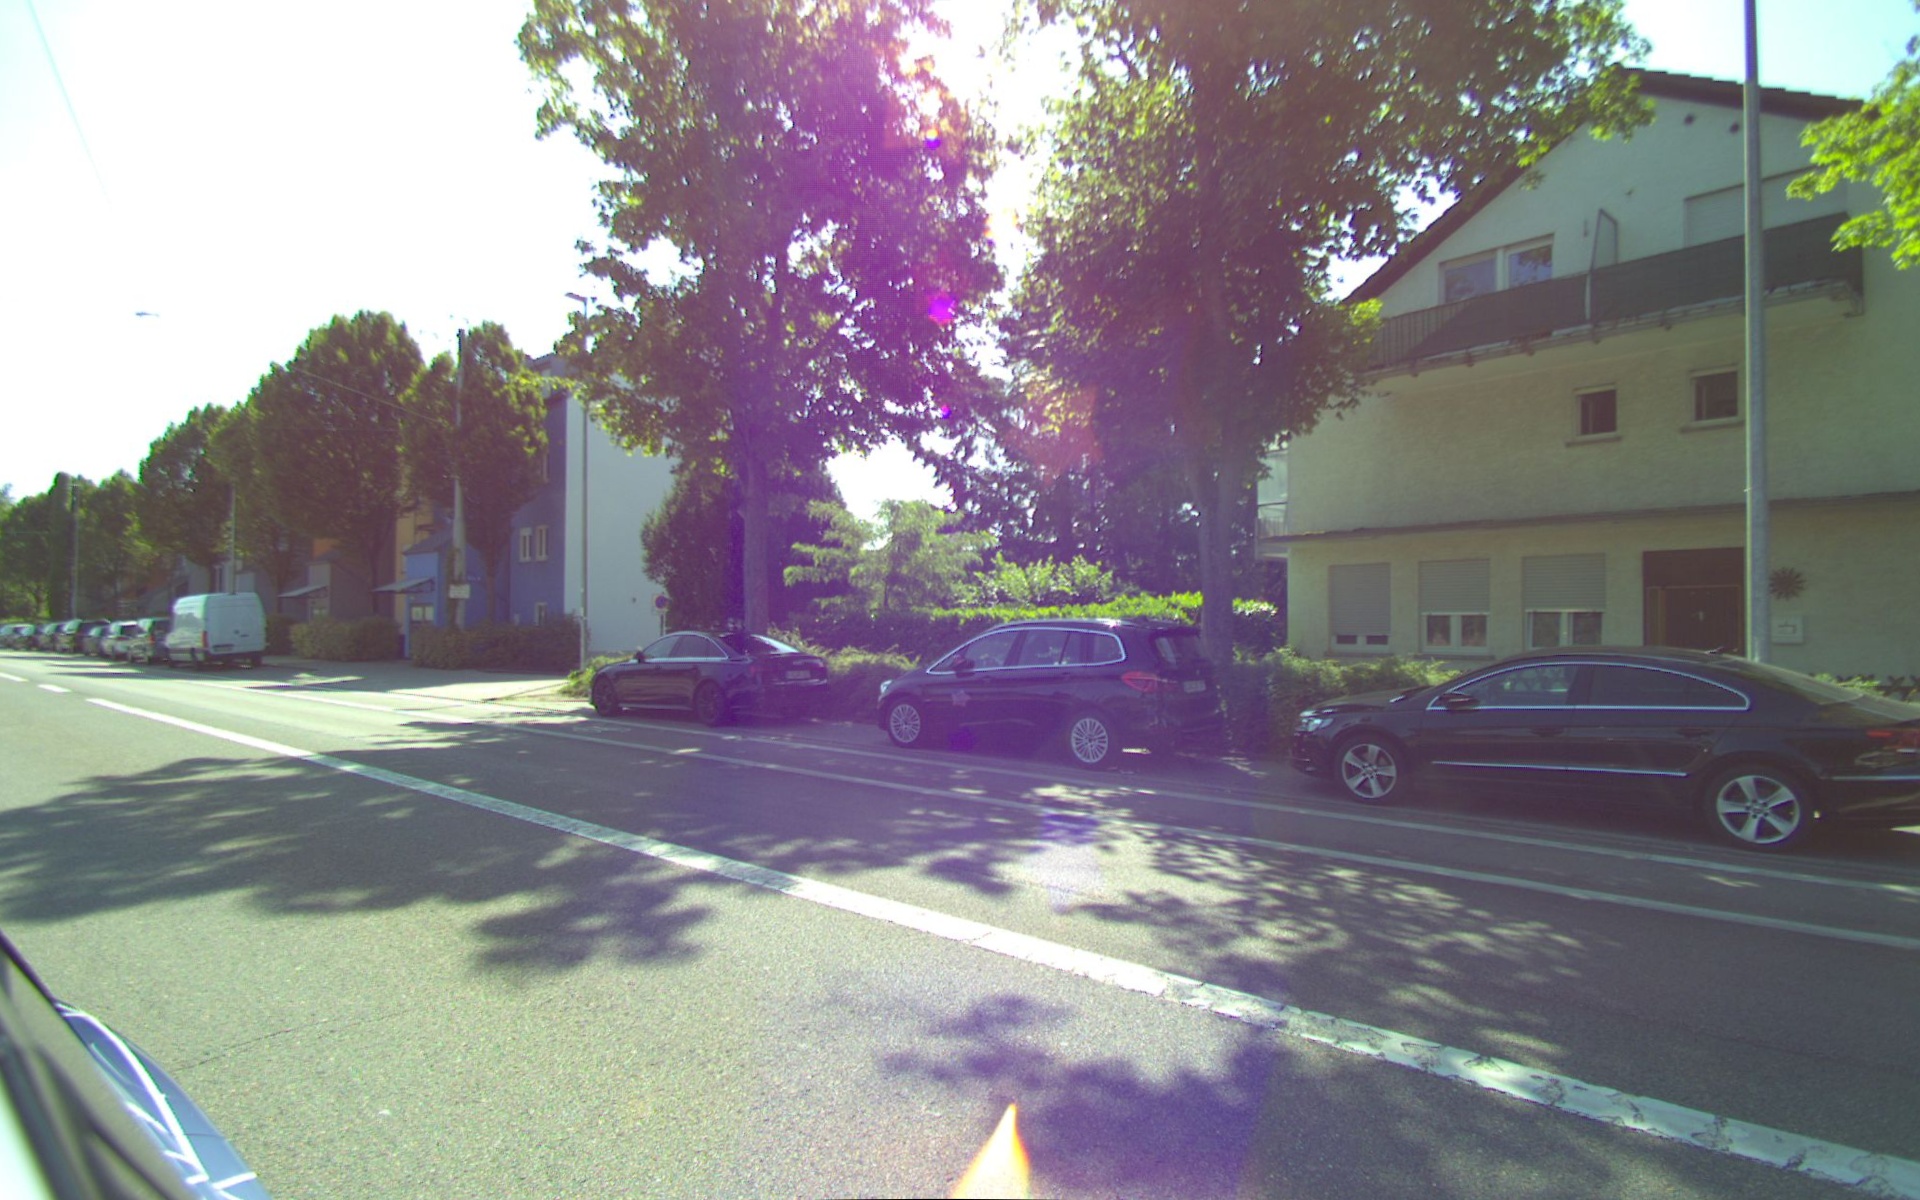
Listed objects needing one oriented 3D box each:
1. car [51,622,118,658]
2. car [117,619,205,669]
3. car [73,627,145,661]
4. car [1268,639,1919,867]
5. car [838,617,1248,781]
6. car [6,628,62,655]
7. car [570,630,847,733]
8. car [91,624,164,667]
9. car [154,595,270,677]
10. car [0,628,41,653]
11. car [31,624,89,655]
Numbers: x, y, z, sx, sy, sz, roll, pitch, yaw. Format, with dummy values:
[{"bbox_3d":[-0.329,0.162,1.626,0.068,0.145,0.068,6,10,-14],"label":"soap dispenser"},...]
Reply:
[{"bbox_3d":[-45.872,2.056,53.005,4.343,1.741,1.812,-1,0,37],"label":"car"},{"bbox_3d":[-33.710,1.800,42.632,4.964,1.879,1.973,-1,2,41],"label":"car"},{"bbox_3d":[-41.791,2.129,49.658,4.069,1.466,1.849,-1,1,37],"label":"car"},{"bbox_3d":[5.186,1.050,8.390,4.779,1.390,1.673,-2,-1,41],"label":"car"},{"bbox_3d":[0.816,1.043,12.298,4.891,1.618,1.743,-1,-2,41],"label":"car"},{"bbox_3d":[-54.886,2.440,59.958,4.206,1.481,1.662,-1,-1,37],"label":"car"},{"bbox_3d":[-4.262,1.234,16.721,4.903,1.477,1.822,-1,-2,38],"label":"car"},{"bbox_3d":[-37.984,2.037,46.134,4.539,1.715,1.829,-1,2,42],"label":"car"},{"bbox_3d":[-27.678,1.283,37.309,7.084,2.697,1.973,-2,1,42],"label":"car"},{"bbox_3d":[-60.072,2.538,64.155,4.826,1.457,1.663,-1,-1,35],"label":"car"},{"bbox_3d":[-49.898,2.149,56.065,4.159,1.619,1.661,-1,-1,37],"label":"car"}]
